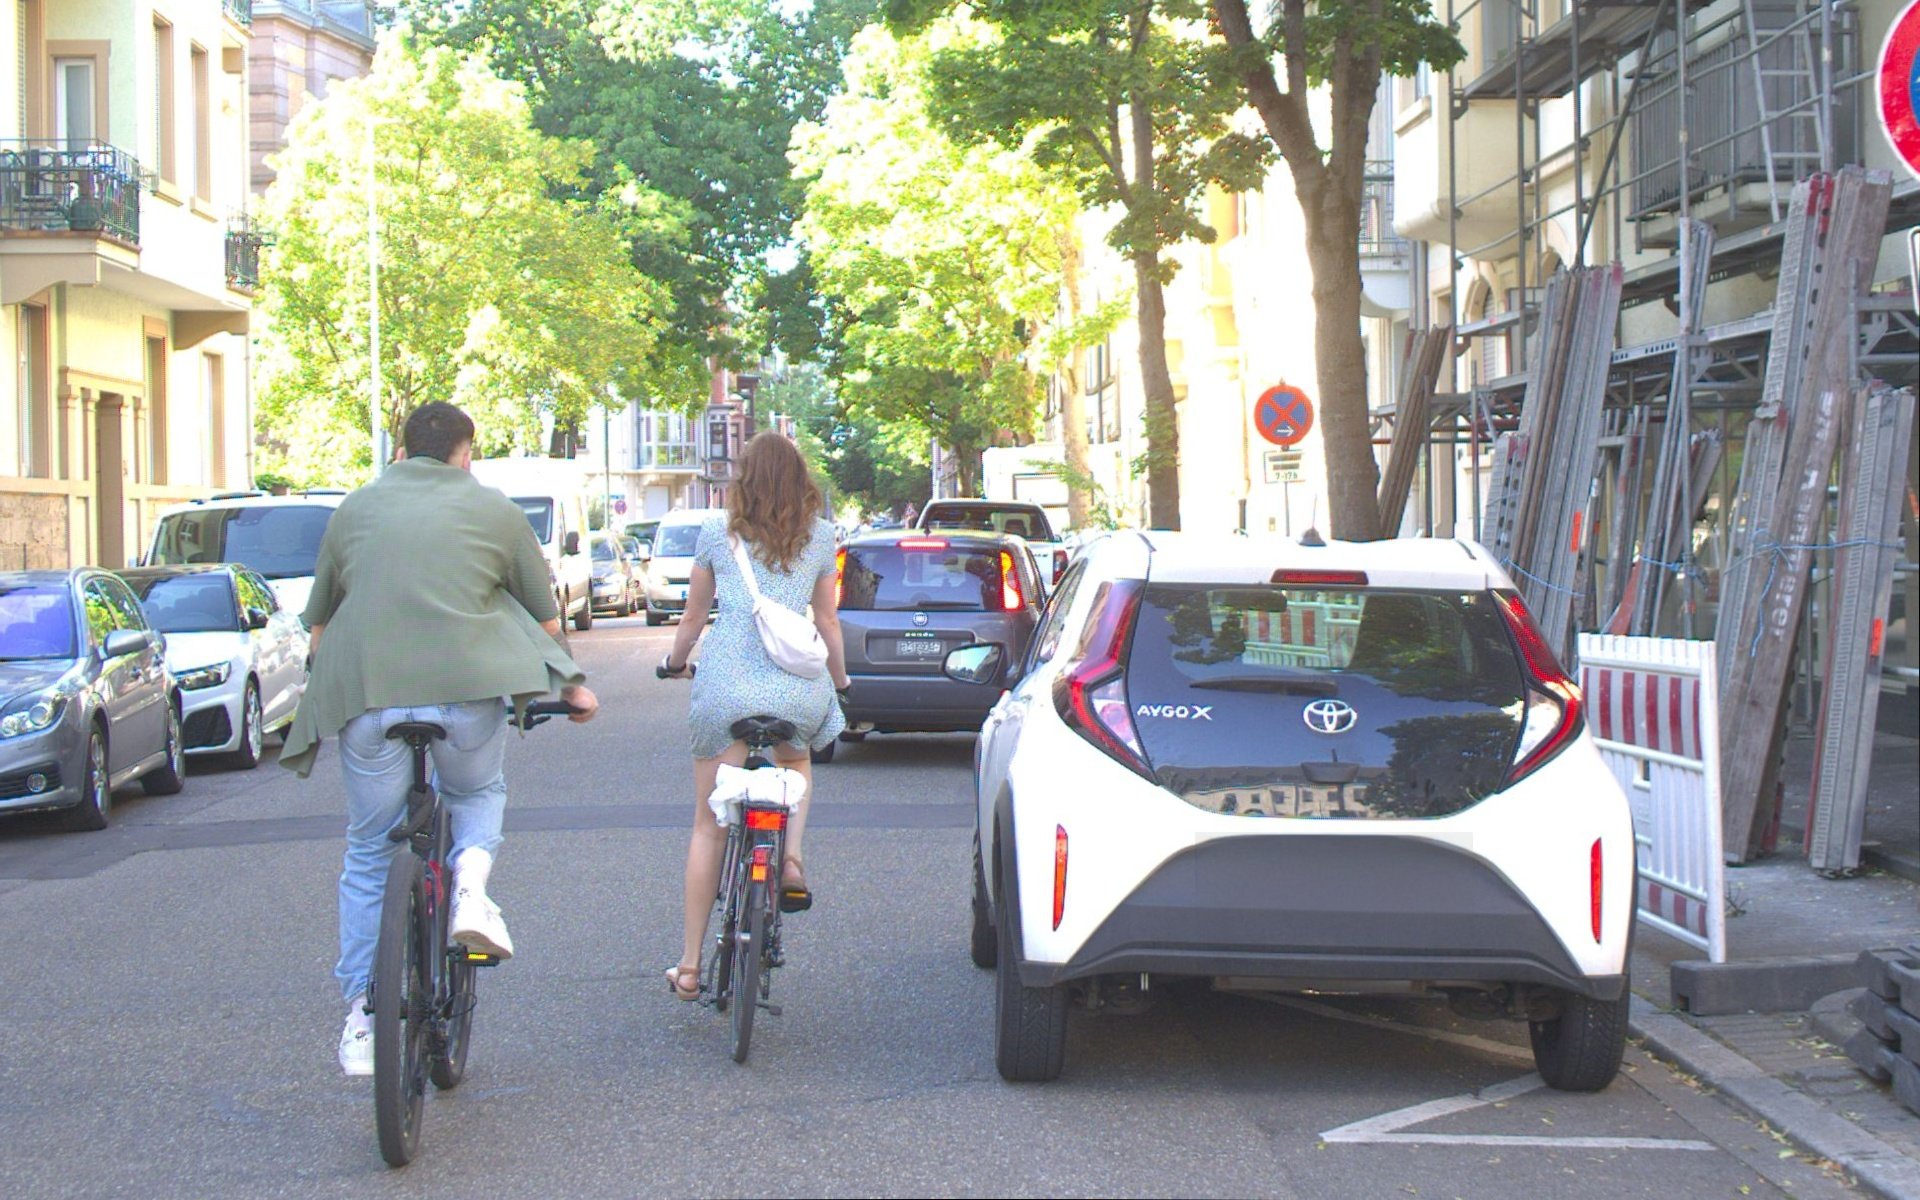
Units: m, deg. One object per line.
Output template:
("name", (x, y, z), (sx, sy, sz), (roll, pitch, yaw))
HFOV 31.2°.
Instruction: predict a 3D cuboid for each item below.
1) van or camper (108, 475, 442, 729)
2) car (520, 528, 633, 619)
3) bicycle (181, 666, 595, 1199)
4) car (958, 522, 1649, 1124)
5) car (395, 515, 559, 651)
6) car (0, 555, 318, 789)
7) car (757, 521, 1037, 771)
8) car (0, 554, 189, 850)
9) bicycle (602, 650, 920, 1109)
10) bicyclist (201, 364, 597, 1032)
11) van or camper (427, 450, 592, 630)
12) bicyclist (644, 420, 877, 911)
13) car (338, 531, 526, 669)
("van or camper", (-5.955, -0.044, 30.504), (1.993, 2.007, 4.912), (-2, 1, -1))
("car", (-7.007, -0.520, 63.150), (1.710, 1.555, 4.001), (-1, 2, -2))
("bicycle", (-1.368, 0.770, 8.644), (0.839, 1.145, 2.233), (-1, 0, -5))
("car", (0.884, 0.537, 10.529), (1.675, 1.540, 3.404), (0, 1, -2))
("car", (-6.389, -0.263, 45.829), (1.710, 1.693, 4.001), (-1, 2, -2))
("car", (-5.691, 0.448, 24.443), (1.686, 1.448, 3.711), (-2, 1, -3))
("car", (-0.360, 0.253, 23.308), (1.557, 1.527, 3.486), (-1, 1, 4))
("car", (-5.700, 0.547, 19.446), (1.978, 1.450, 4.114), (-4, 2, -5))
("bicycle", (-0.615, 0.766, 10.314), (0.839, 1.145, 2.233), (0, 1, -4))
("bicyclist", (-1.374, 0.239, 8.577), (0.881, 1.556, 0.868), (-2, -2, -5))
("van or camper", (-6.756, -0.932, 52.007), (1.993, 2.544, 5.024), (-1, 2, -3))
("bicyclist", (-0.594, 0.205, 10.197), (0.623, 1.376, 0.868), (-2, -3, -4))
("car", (-6.244, -0.037, 41.004), (1.710, 1.499, 4.001), (-1, 2, -2))
